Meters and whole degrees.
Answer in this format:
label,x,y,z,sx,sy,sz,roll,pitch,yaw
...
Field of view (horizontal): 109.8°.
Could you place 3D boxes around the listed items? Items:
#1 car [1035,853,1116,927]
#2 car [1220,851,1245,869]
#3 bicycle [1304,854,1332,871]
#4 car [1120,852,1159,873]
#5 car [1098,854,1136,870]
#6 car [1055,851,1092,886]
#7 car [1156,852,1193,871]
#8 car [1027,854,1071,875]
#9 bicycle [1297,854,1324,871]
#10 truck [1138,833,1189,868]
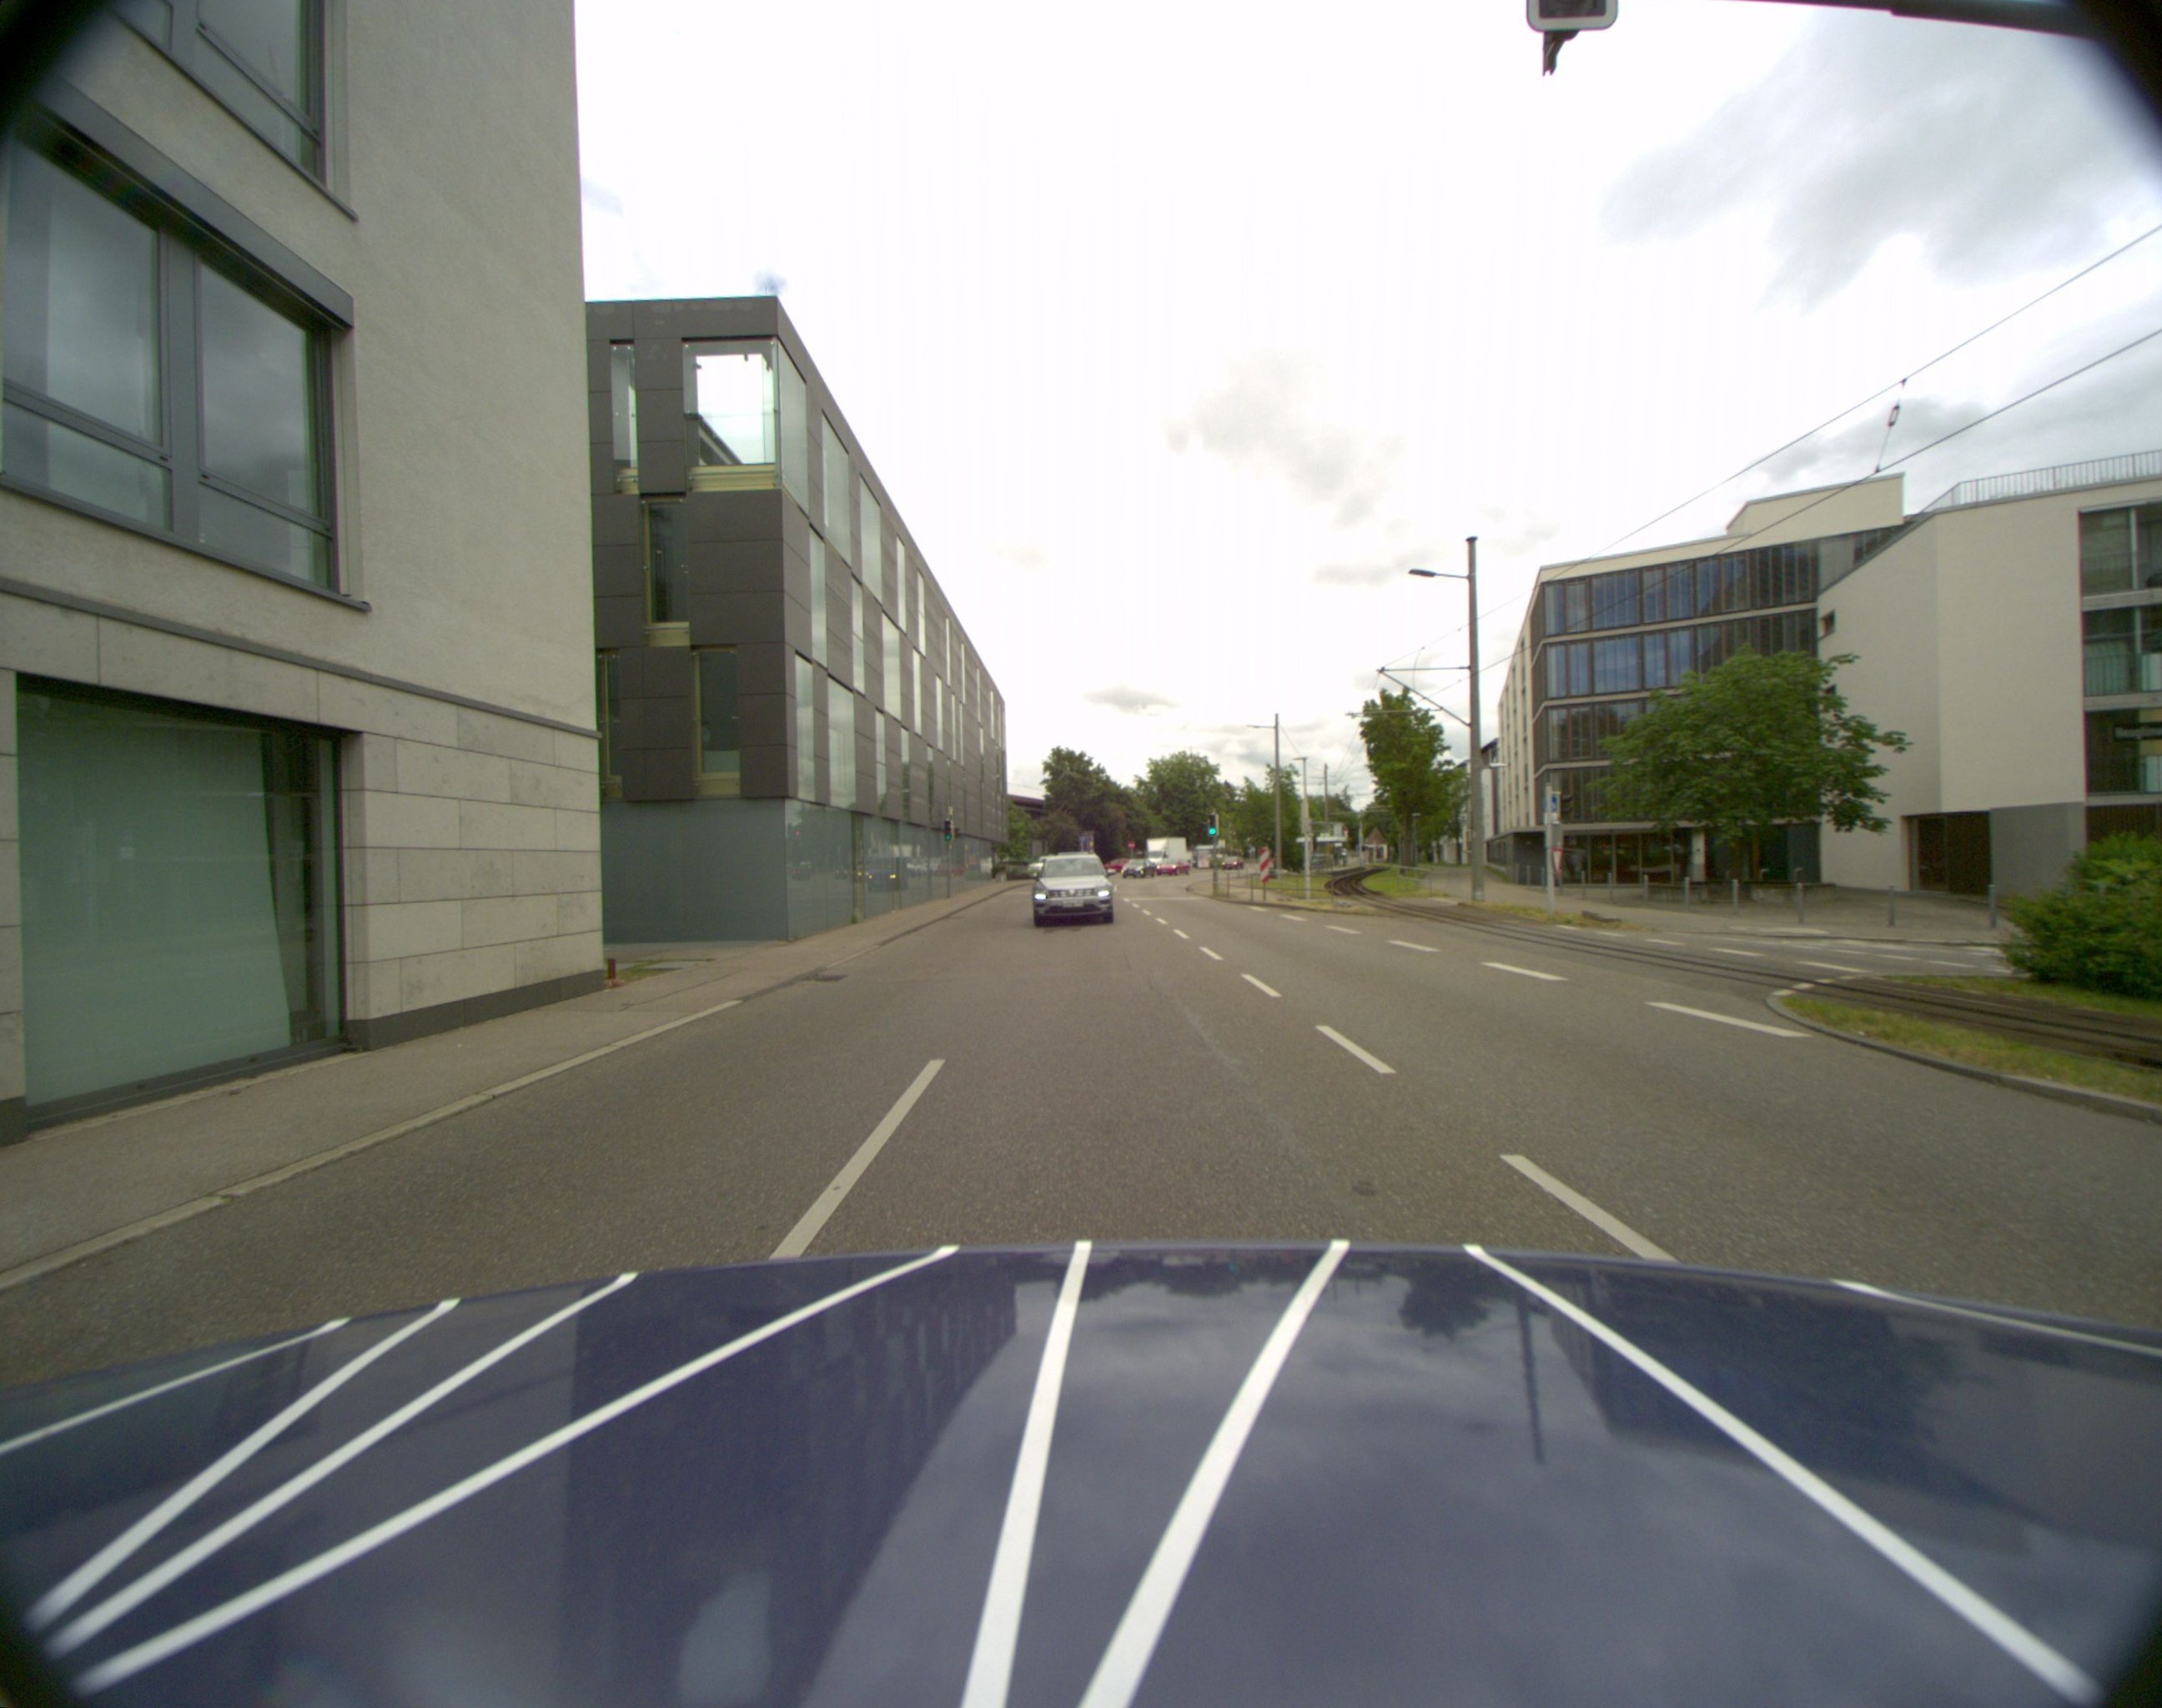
label,x,y,z,sx,sy,sz,roll,pitch,yaw
car,-0.084,0.827,19.509,1.811,1.637,4.331,-2,0,1
car,16.798,0.650,84.022,1.846,1.850,4.264,-1,0,22
bicycle,16.234,0.568,52.036,1.750,1.040,0.409,-3,0,28
car,4.533,0.617,58.324,1.847,1.525,4.006,-1,0,22
car,3.833,0.833,80.909,3.895,1.475,1.683,-4,0,1
car,-0.380,0.760,43.114,1.849,1.850,4.001,-2,0,3
car,7.943,0.650,64.355,1.846,1.525,4.008,0,0,27
car,-2.800,0.891,68.227,1.853,1.747,4.730,-1,0,26
bicycle,15.379,0.564,50.922,1.707,1.082,0.408,-3,0,14
truck,8.554,-0.426,77.709,2.537,3.406,7.788,-1,1,27
